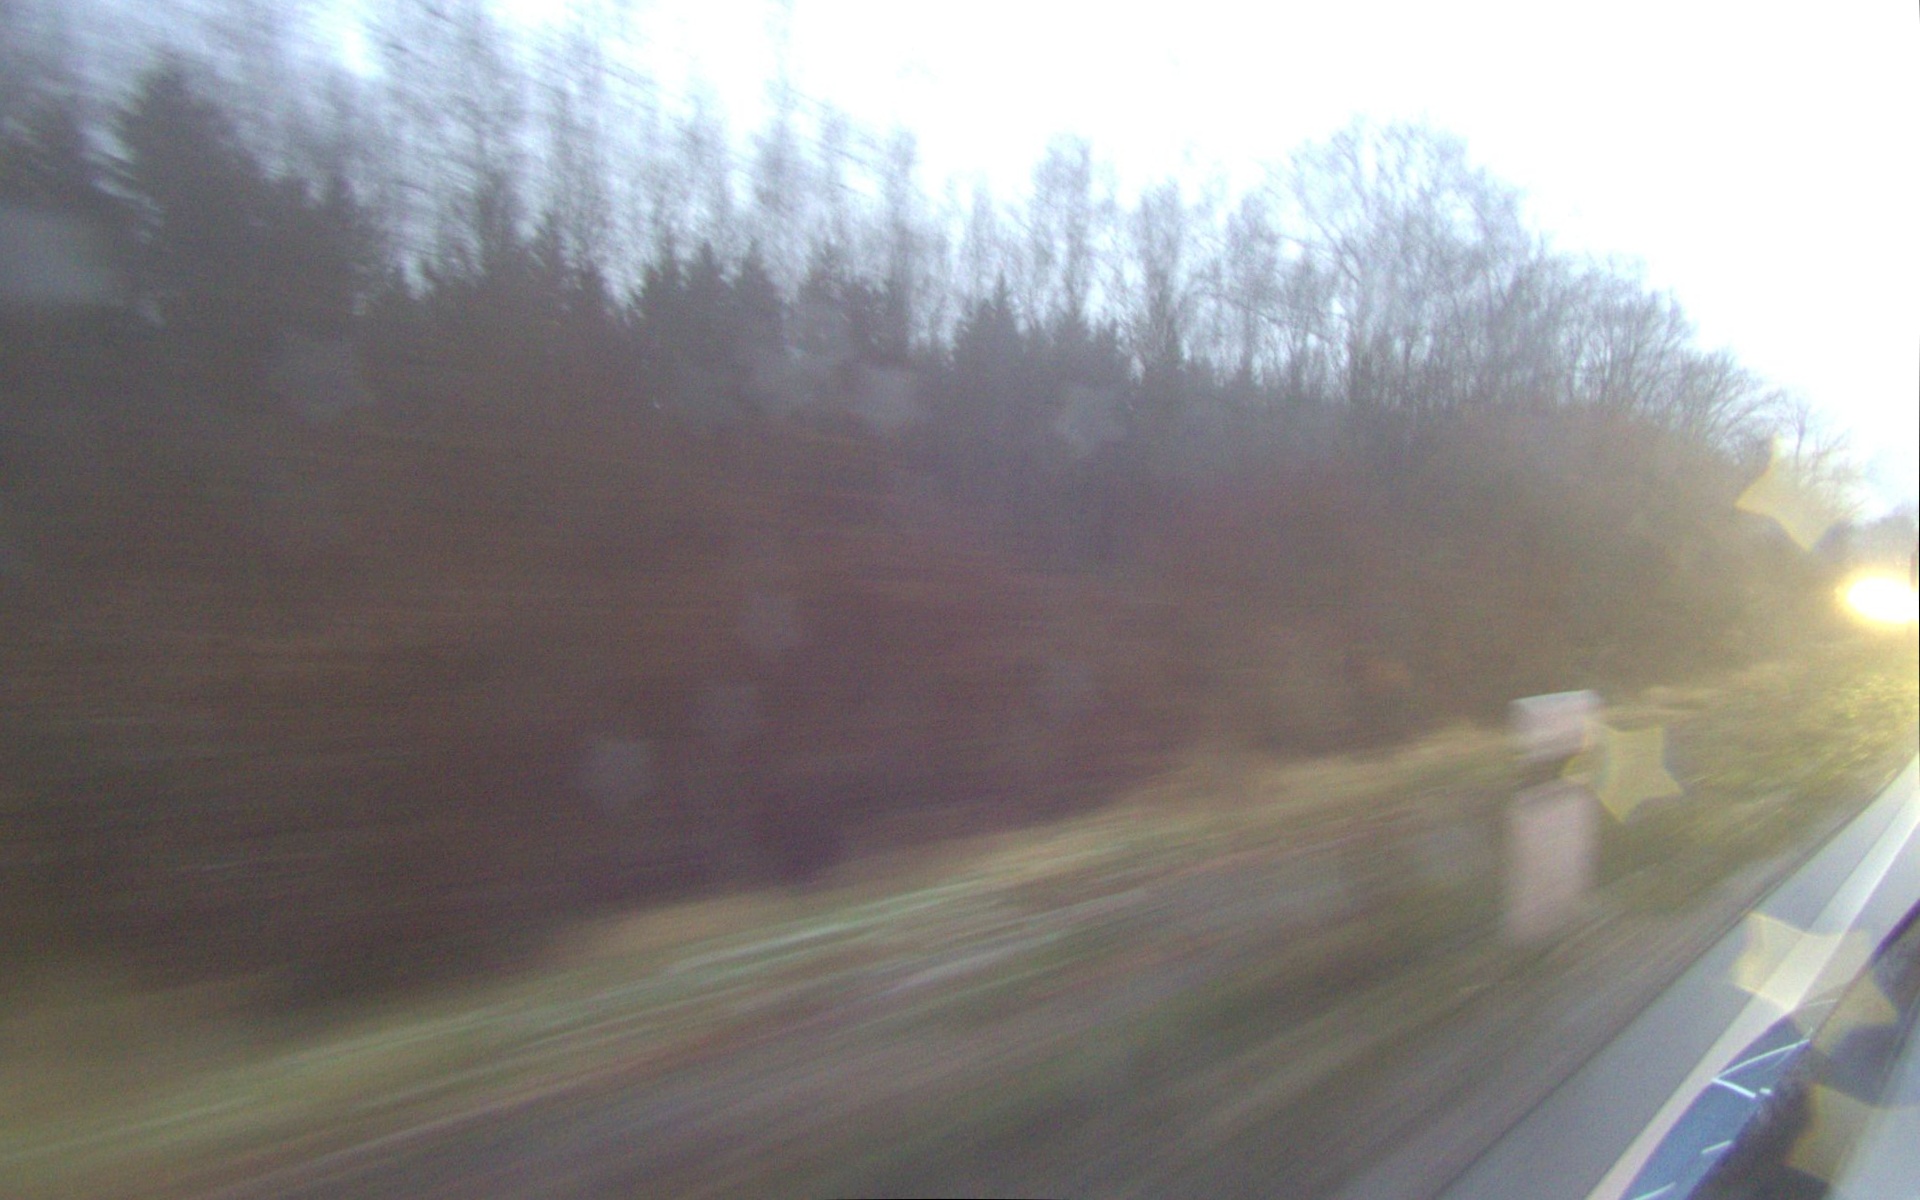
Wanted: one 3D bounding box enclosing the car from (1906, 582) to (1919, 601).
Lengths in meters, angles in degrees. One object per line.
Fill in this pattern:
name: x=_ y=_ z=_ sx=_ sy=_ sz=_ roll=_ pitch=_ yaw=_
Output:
car: x=93.857 y=-0.812 z=98.998 sx=1.694 sy=1.752 sz=3.945 roll=0 pitch=2 yaw=39
